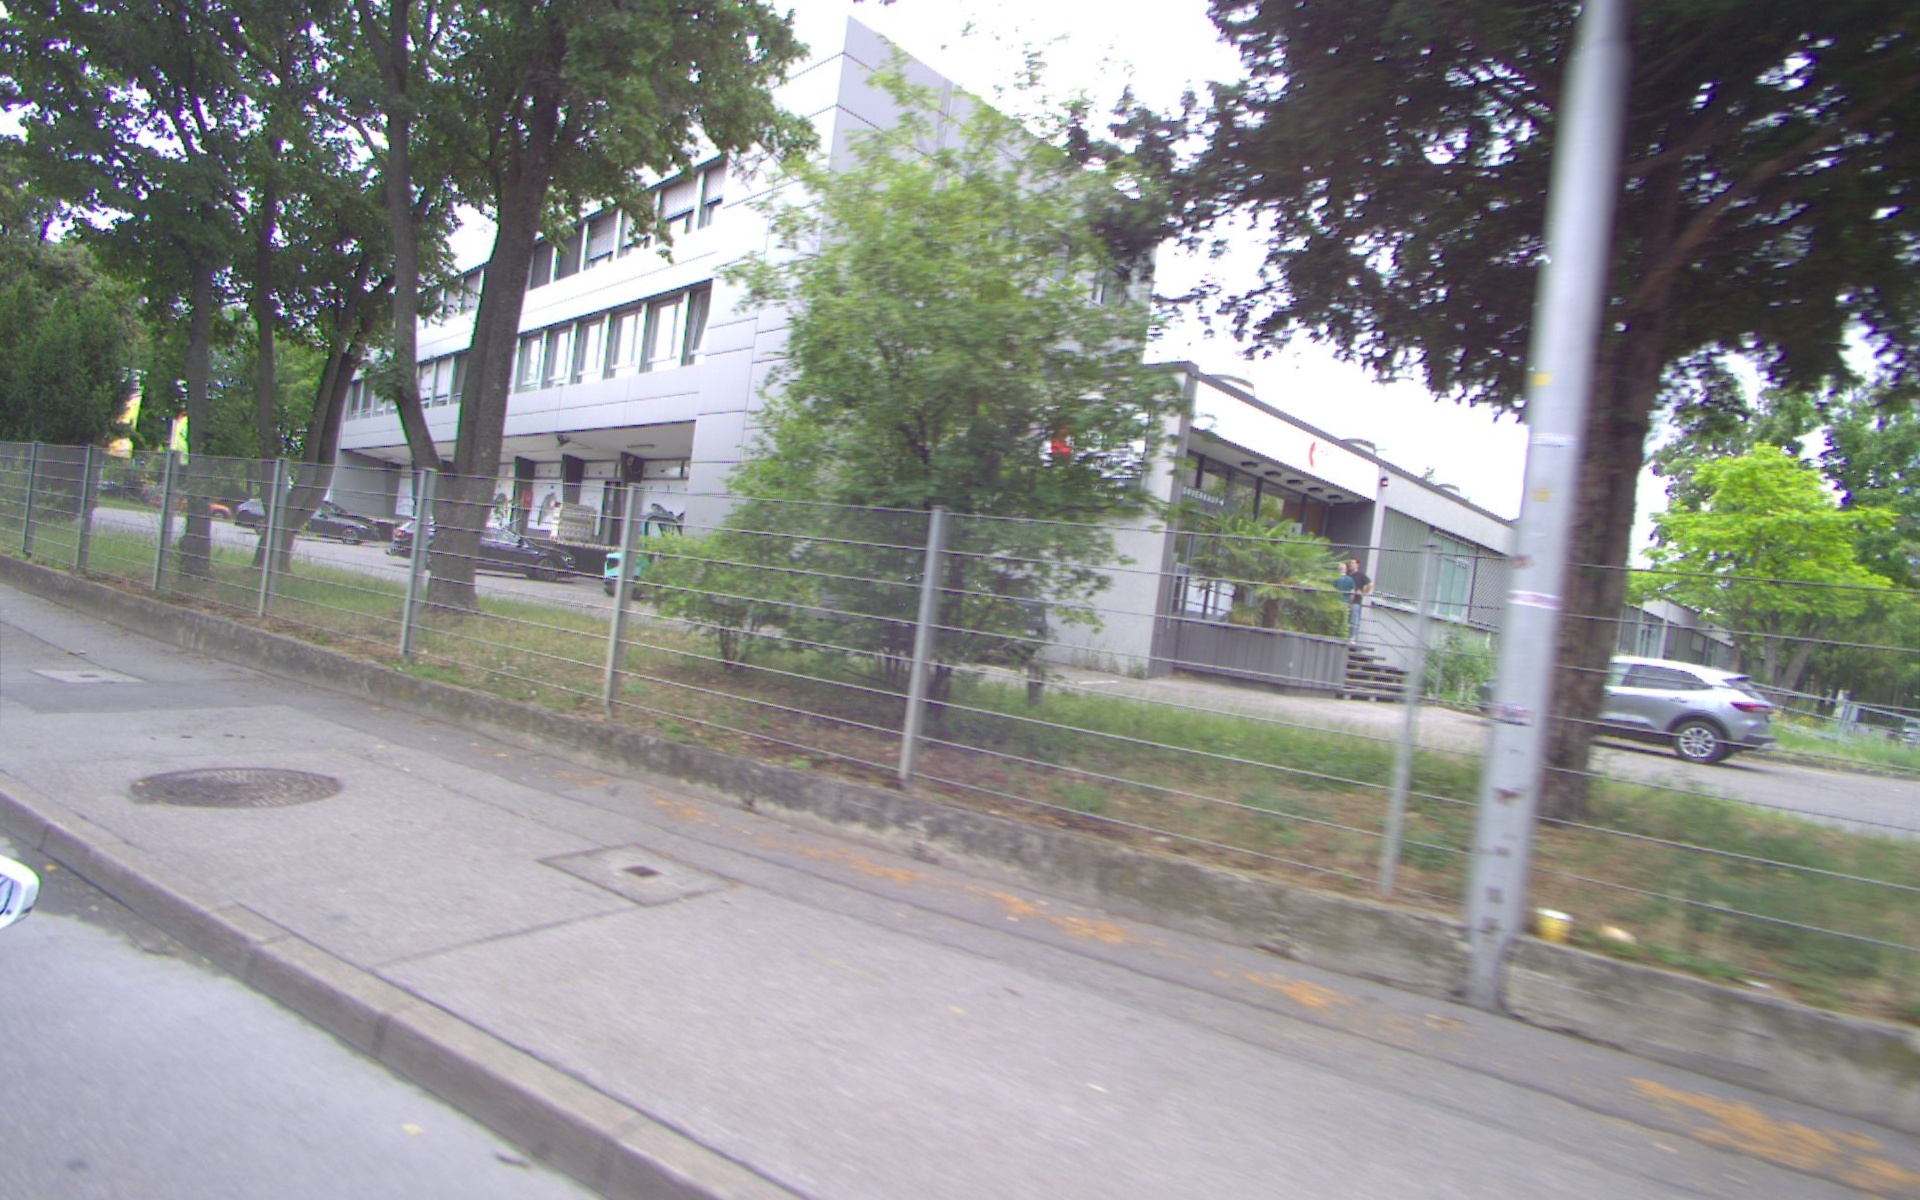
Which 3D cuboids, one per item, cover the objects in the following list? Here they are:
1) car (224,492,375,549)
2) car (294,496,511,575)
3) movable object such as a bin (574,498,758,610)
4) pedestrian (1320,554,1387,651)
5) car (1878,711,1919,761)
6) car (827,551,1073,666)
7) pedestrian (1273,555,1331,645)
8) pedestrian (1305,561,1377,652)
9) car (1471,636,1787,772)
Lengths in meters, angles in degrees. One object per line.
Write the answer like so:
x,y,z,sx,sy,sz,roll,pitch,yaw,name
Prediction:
-27.090,-3.223,41.470,4.799,1.553,2.011,8,1,-24,car
-14.907,-1.687,27.178,4.615,1.492,1.995,7,1,-12,car
-7.549,-1.150,26.099,1.925,2.334,3.979,8,1,42,movable object such as a bin
8.851,0.049,22.622,0.791,2.039,0.909,6,2,-42,pedestrian
35.109,5.038,36.542,1.969,1.540,4.425,9,1,37,car
-0.287,0.124,18.945,4.381,1.588,1.987,9,4,43,car
7.673,0.004,22.569,0.737,1.909,0.690,6,2,-26,pedestrian
7.960,0.122,21.045,0.907,1.774,0.793,6,1,-20,pedestrian
12.130,1.811,18.452,1.988,1.633,4.384,6,2,-44,car
